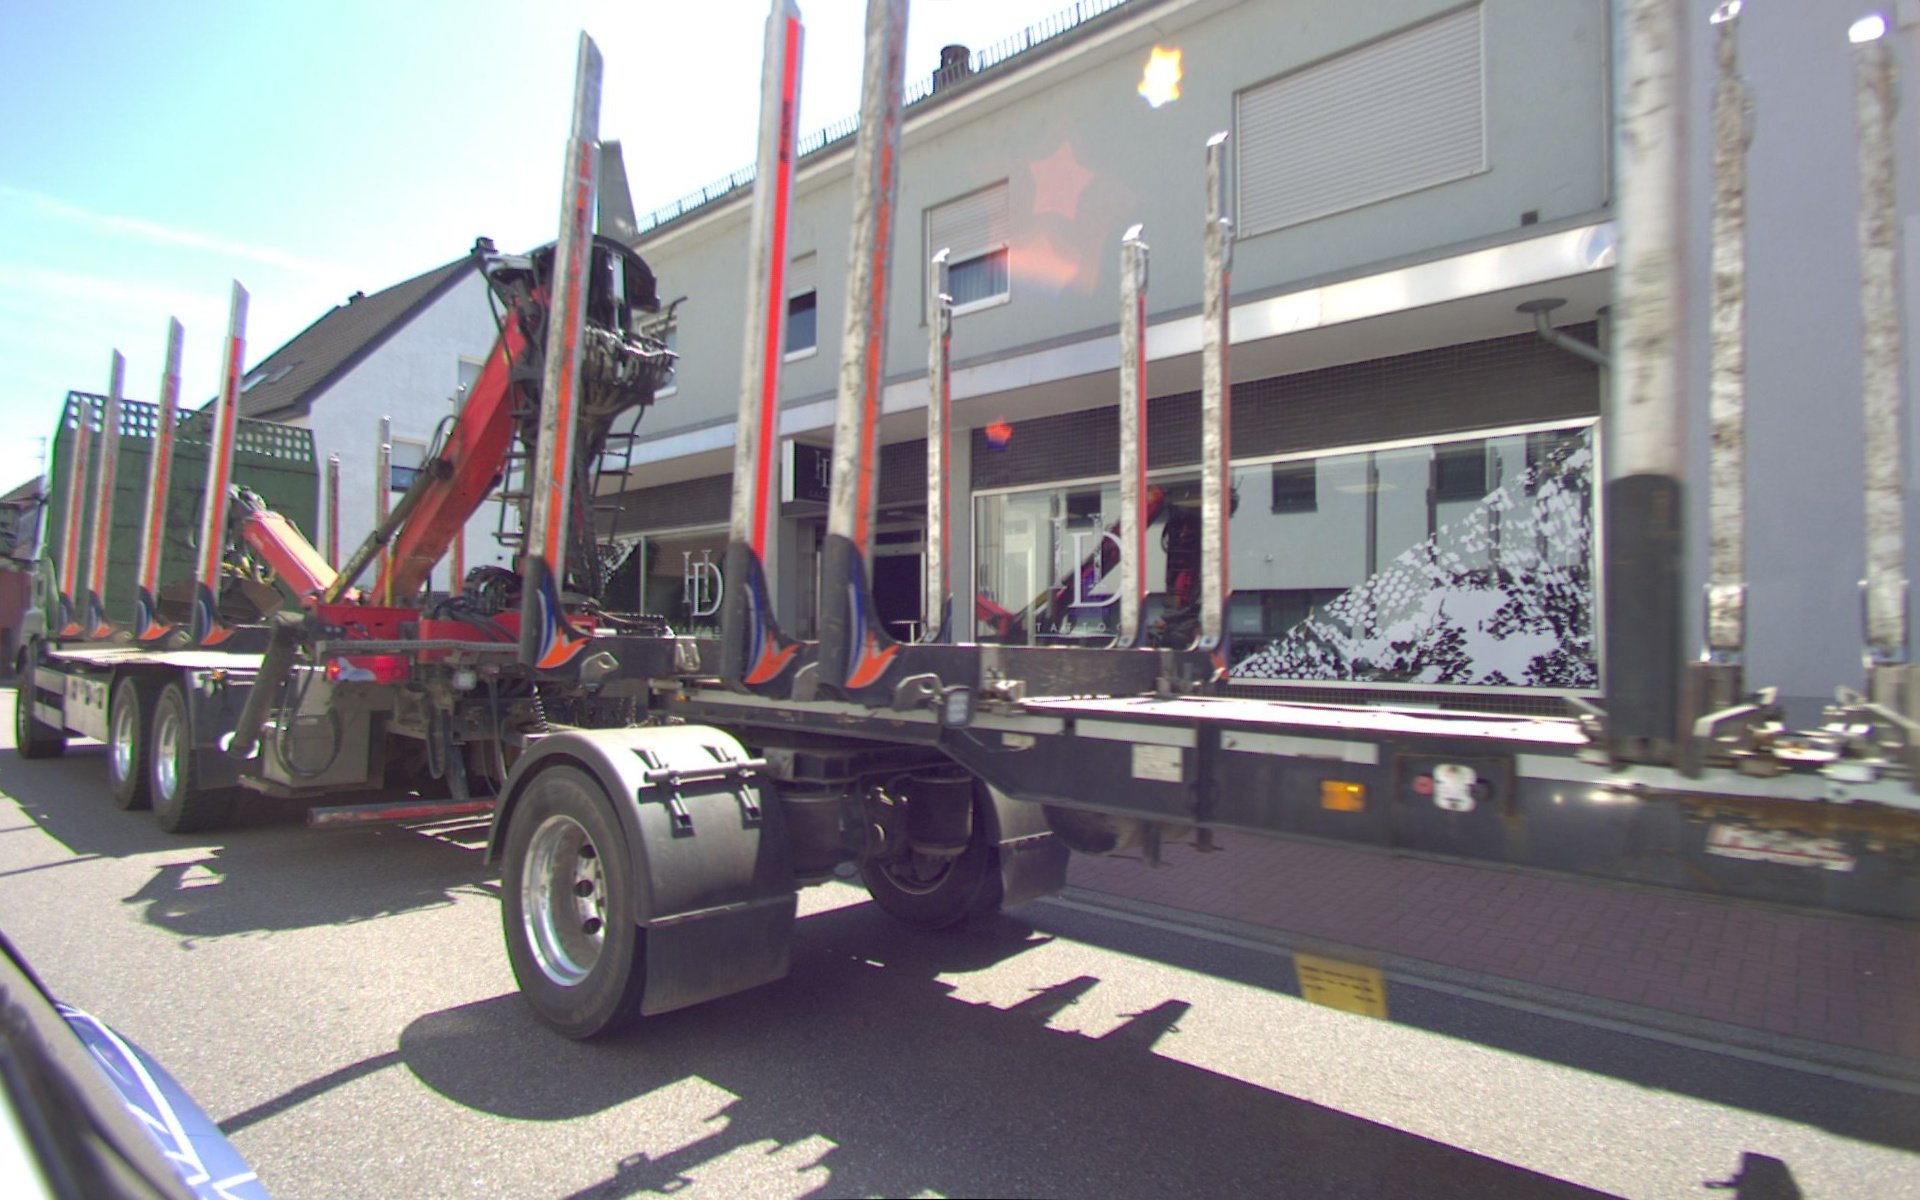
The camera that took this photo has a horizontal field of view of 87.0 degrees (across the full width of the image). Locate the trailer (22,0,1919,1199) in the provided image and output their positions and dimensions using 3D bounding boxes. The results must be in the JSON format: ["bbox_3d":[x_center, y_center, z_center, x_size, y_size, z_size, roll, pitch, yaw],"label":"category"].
[{"bbox_3d":[-2.507,-0.438,6.097,15.686,4.010,2.603,-1,-4,40],"label":"trailer"}]

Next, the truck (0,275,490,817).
[{"bbox_3d":[-7.894,-0.297,10.692,6.848,4.016,2.591,-1,-4,41],"label":"truck"}]

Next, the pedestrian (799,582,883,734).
[{"bbox_3d":[-1.399,0.661,11.850,0.770,1.697,0.618,-2,-2,40],"label":"pedestrian"}]

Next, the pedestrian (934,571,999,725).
[{"bbox_3d":[0.066,0.541,11.777,0.655,1.726,0.632,0,0,-8],"label":"pedestrian"}]
